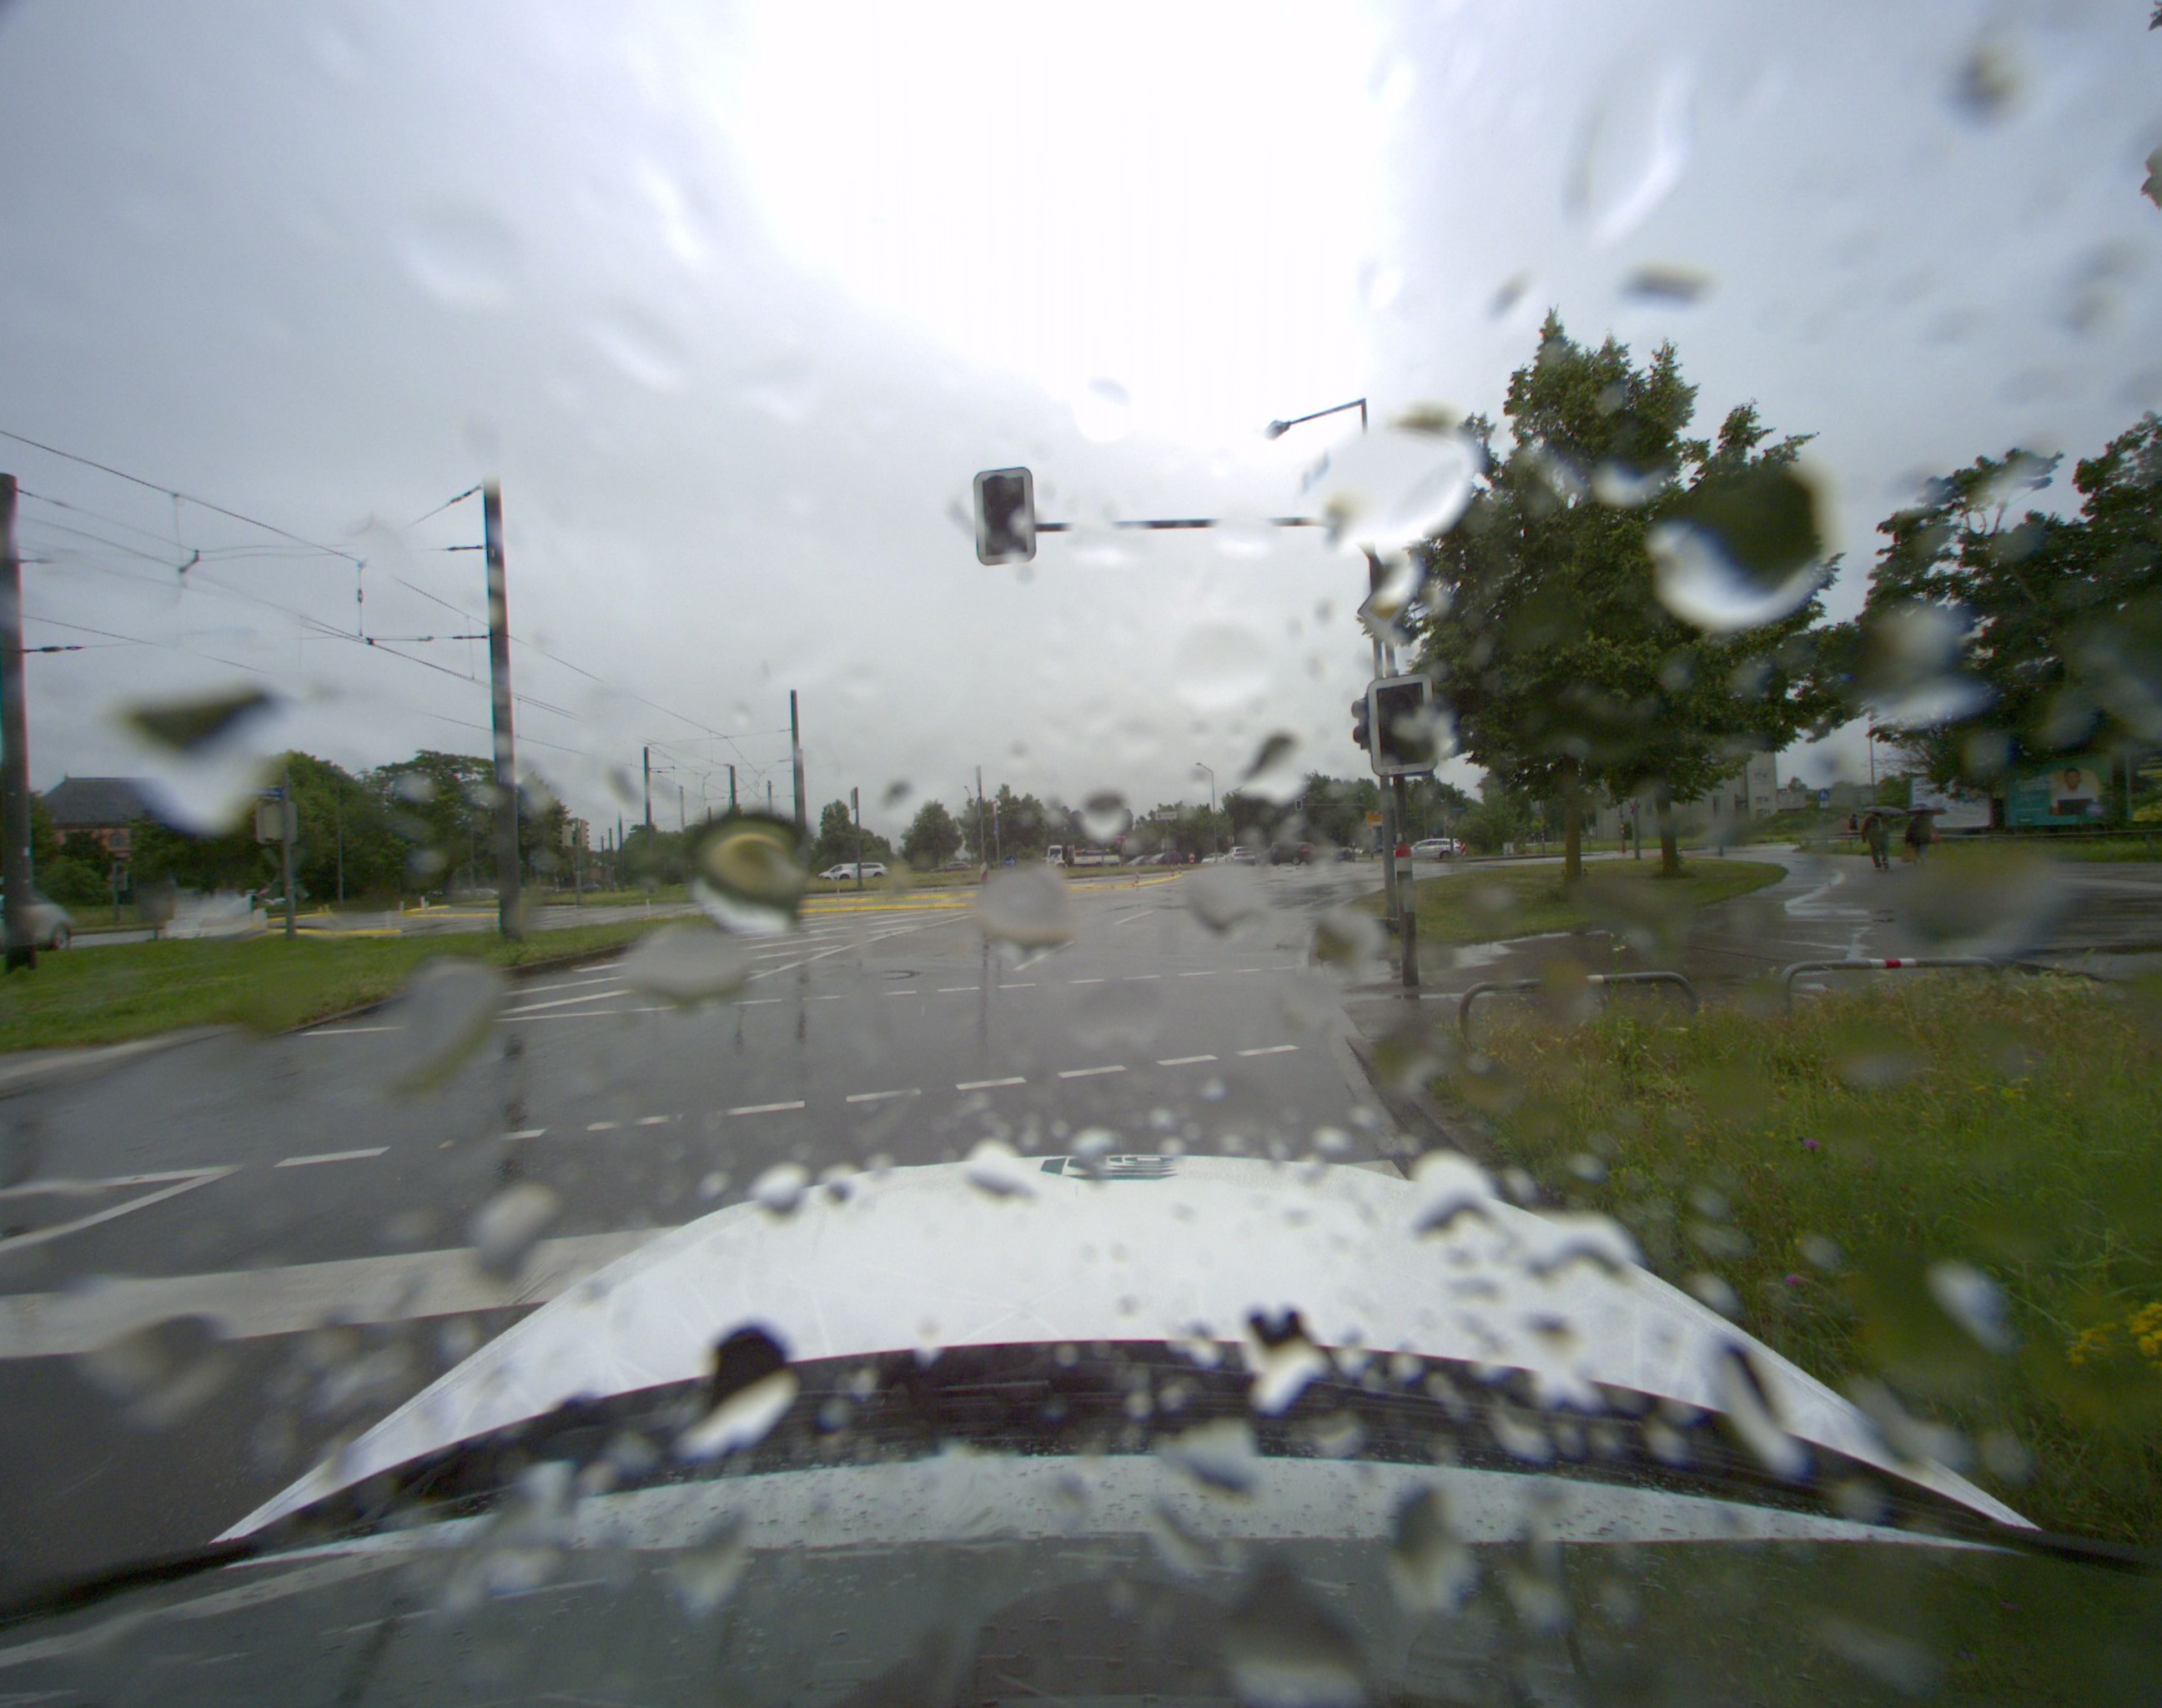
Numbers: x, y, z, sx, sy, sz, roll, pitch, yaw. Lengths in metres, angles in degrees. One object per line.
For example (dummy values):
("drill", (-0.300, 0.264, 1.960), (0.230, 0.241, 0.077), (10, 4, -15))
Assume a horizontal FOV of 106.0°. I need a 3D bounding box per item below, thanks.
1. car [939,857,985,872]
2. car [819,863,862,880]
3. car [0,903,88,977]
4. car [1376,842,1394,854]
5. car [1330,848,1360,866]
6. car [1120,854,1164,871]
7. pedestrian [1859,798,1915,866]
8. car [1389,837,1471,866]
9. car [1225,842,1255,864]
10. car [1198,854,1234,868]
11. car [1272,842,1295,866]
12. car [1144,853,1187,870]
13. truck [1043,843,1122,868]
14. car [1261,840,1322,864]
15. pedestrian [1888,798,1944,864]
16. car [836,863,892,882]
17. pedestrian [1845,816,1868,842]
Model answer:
("car", (-11.989, 1.027, 81.822), (4.538, 1.492, 1.605), (0, -1, -13))
("car", (-23.299, 1.693, 78.965), (3.859, 1.620, 1.532), (0, -1, -24))
("car", (-24.870, 1.959, 18.211), (1.856, 1.486, 4.188), (0, -1, -28))
("car", (53.333, -1.102, 142.931), (1.771, 2.014, 3.697), (-1, -1, 39))
("car", (25.395, 0.283, 78.270), (1.672, 1.492, 3.272), (-3, 0, 39))
("car", (6.654, 0.921, 88.802), (4.889, 1.744, 1.758), (0, -1, -38))
("pedestrian", (21.754, -0.582, 21.988), (0.811, 1.784, 0.914), (0, -1, -33))
("car", (23.033, -0.155, 53.752), (4.776, 1.811, 1.800), (-1, -1, 28))
("car", (12.724, -0.062, 65.377), (1.675, 1.648, 3.946), (0, -1, 0))
("car", (16.825, 0.839, 101.387), (4.892, 1.744, 1.756), (0, -1, -42))
("car", (18.154, -0.002, 72.978), (1.769, 2.036, 4.018), (-1, -1, 18))
("car", (8.831, 0.768, 85.123), (4.894, 1.744, 1.756), (0, -1, -45))
("truck", (0.230, 0.143, 89.449), (8.814, 2.711, 1.983), (0, -1, -26))
("car", (15.026, -0.136, 58.337), (1.797, 1.648, 3.955), (0, -1, -37))
("pedestrian", (22.981, -0.613, 22.410), (0.811, 1.784, 0.914), (0, -1, -33))
("car", (-20.034, 1.701, 75.306), (4.855, 1.744, 1.770), (0, -1, -13))
("pedestrian", (54.543, -1.739, 57.279), (0.947, 1.772, 0.715), (-1, -1, 11))
